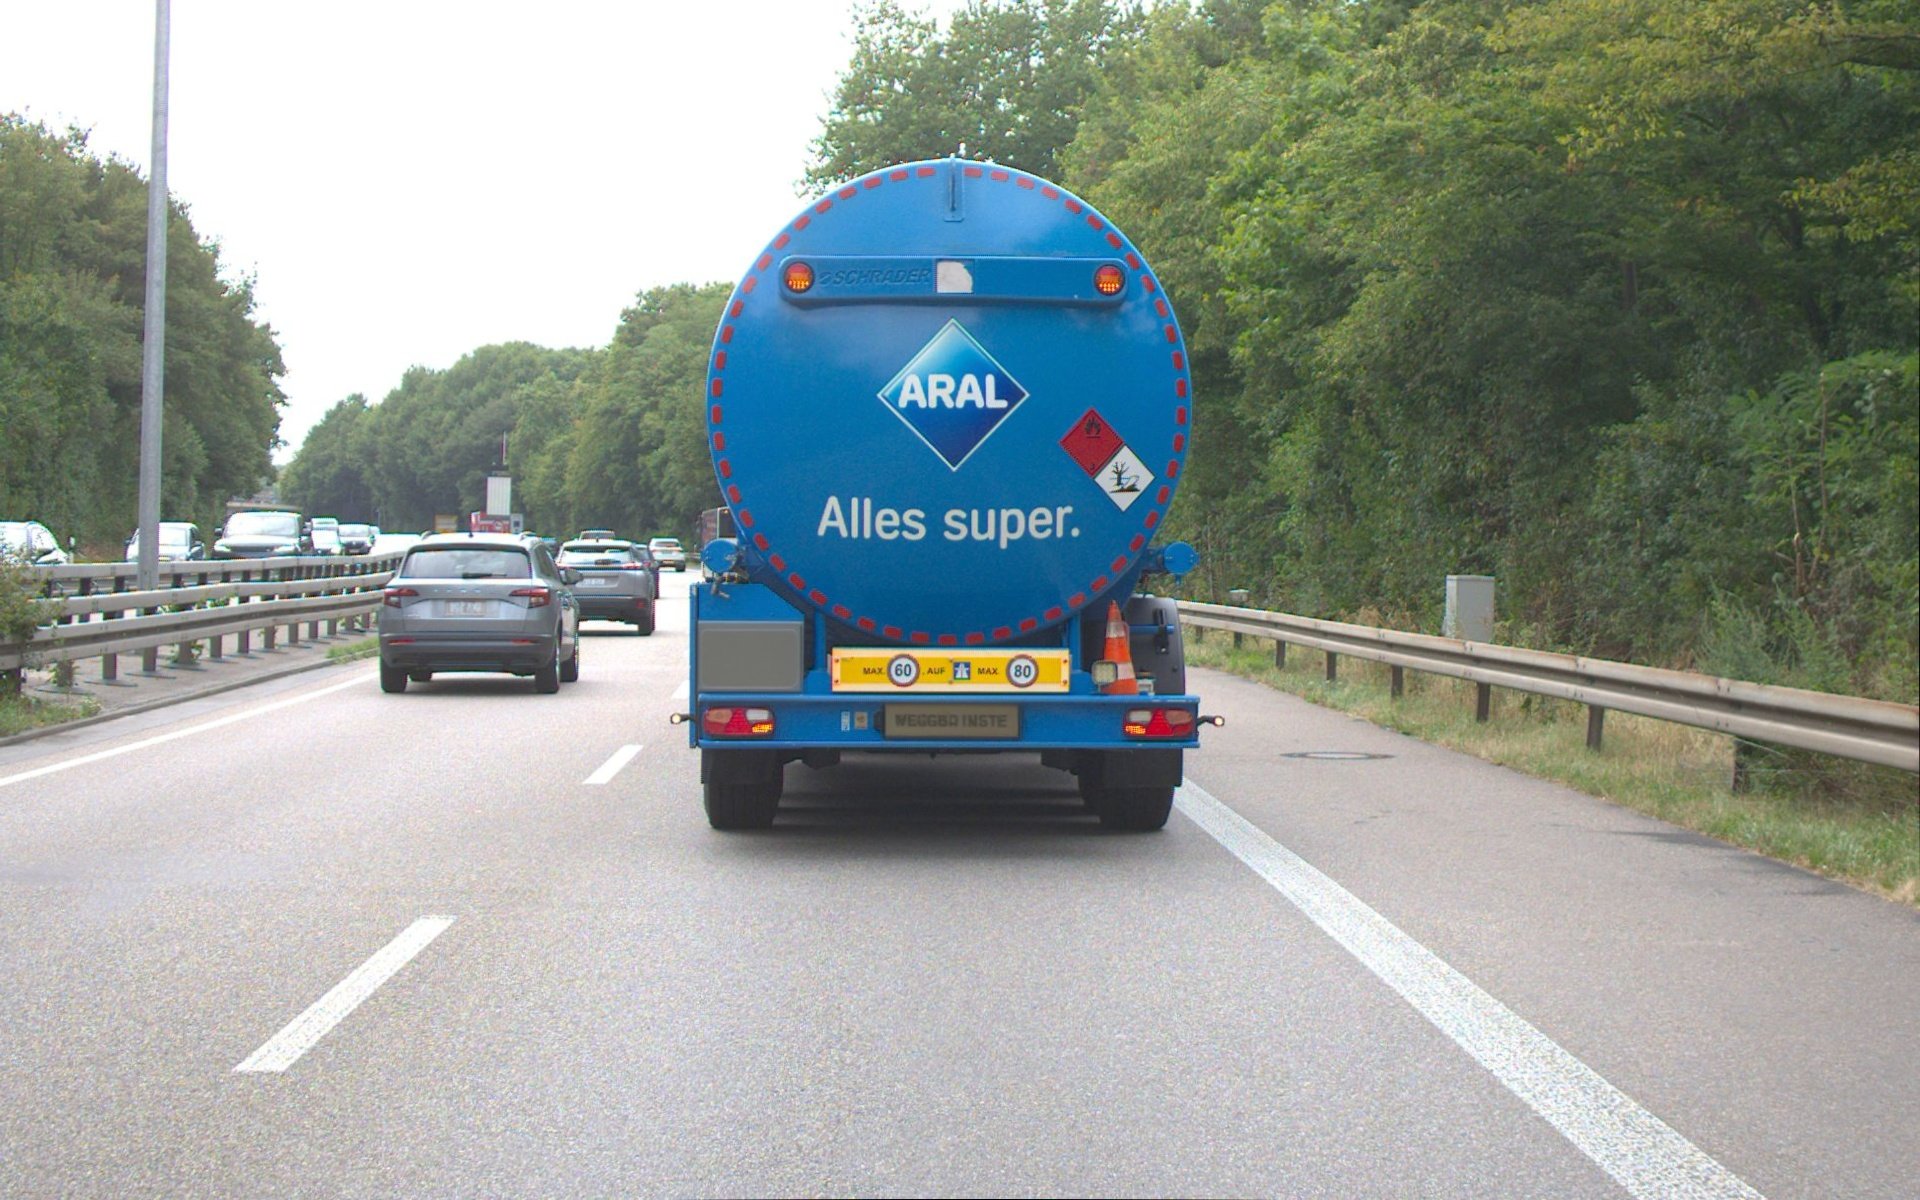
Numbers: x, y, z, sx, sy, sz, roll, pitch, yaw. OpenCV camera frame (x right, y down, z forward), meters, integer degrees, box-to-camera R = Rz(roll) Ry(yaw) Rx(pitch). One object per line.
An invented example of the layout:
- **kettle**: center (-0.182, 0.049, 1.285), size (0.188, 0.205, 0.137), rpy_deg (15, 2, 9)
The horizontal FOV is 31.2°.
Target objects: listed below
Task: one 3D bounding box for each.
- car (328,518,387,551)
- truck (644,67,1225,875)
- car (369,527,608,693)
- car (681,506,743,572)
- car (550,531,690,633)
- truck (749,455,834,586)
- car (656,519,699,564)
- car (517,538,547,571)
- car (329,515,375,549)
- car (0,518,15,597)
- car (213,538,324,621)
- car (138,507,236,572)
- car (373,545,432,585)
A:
- **car**: center (-23.783, -2.578, 135.817), size (1.977, 1.295, 4.069), rpy_deg (0, 1, -5)
- **truck**: center (-0.300, -0.652, 20.232), size (2.755, 3.833, 7.689), rpy_deg (0, 1, -3)
- **car**: center (-4.793, 0.076, 35.464), size (1.826, 1.604, 4.167), rpy_deg (0, 1, 1)
- **car**: center (-8.550, -2.086, 118.125), size (1.993, 2.237, 4.001), rpy_deg (0, 1, -6)
- **car**: center (-5.558, -0.308, 56.588), size (1.826, 1.604, 4.167), rpy_deg (0, 1, 1)
- **truck**: center (-4.144, -1.915, 84.674), size (1.993, 3.082, 7.816), rpy_deg (0, 1, -3)
- **car**: center (-14.145, -2.906, 171.757), size (1.993, 2.237, 4.001), rpy_deg (0, 1, -7)
- **car**: center (-29.588, -3.168, 237.654), size (1.993, 2.237, 4.001), rpy_deg (0, 1, -6)
- **car**: center (-33.692, -3.752, 190.718), size (2.034, 1.798, 5.124), rpy_deg (0, 1, -5)
- **car**: center (-18.875, -0.798, 64.066), size (1.628, 1.503, 3.728), rpy_deg (0, 1, -2)
- **car**: center (-15.789, -0.483, 78.690), size (1.791, 1.830, 4.957), rpy_deg (0, 1, -3)
- **car**: center (-19.389, -1.510, 86.373), size (1.730, 1.596, 4.132), rpy_deg (0, 1, -3)
- **car**: center (-20.203, -1.276, 124.724), size (1.711, 1.422, 4.057), rpy_deg (0, 1, -4)
